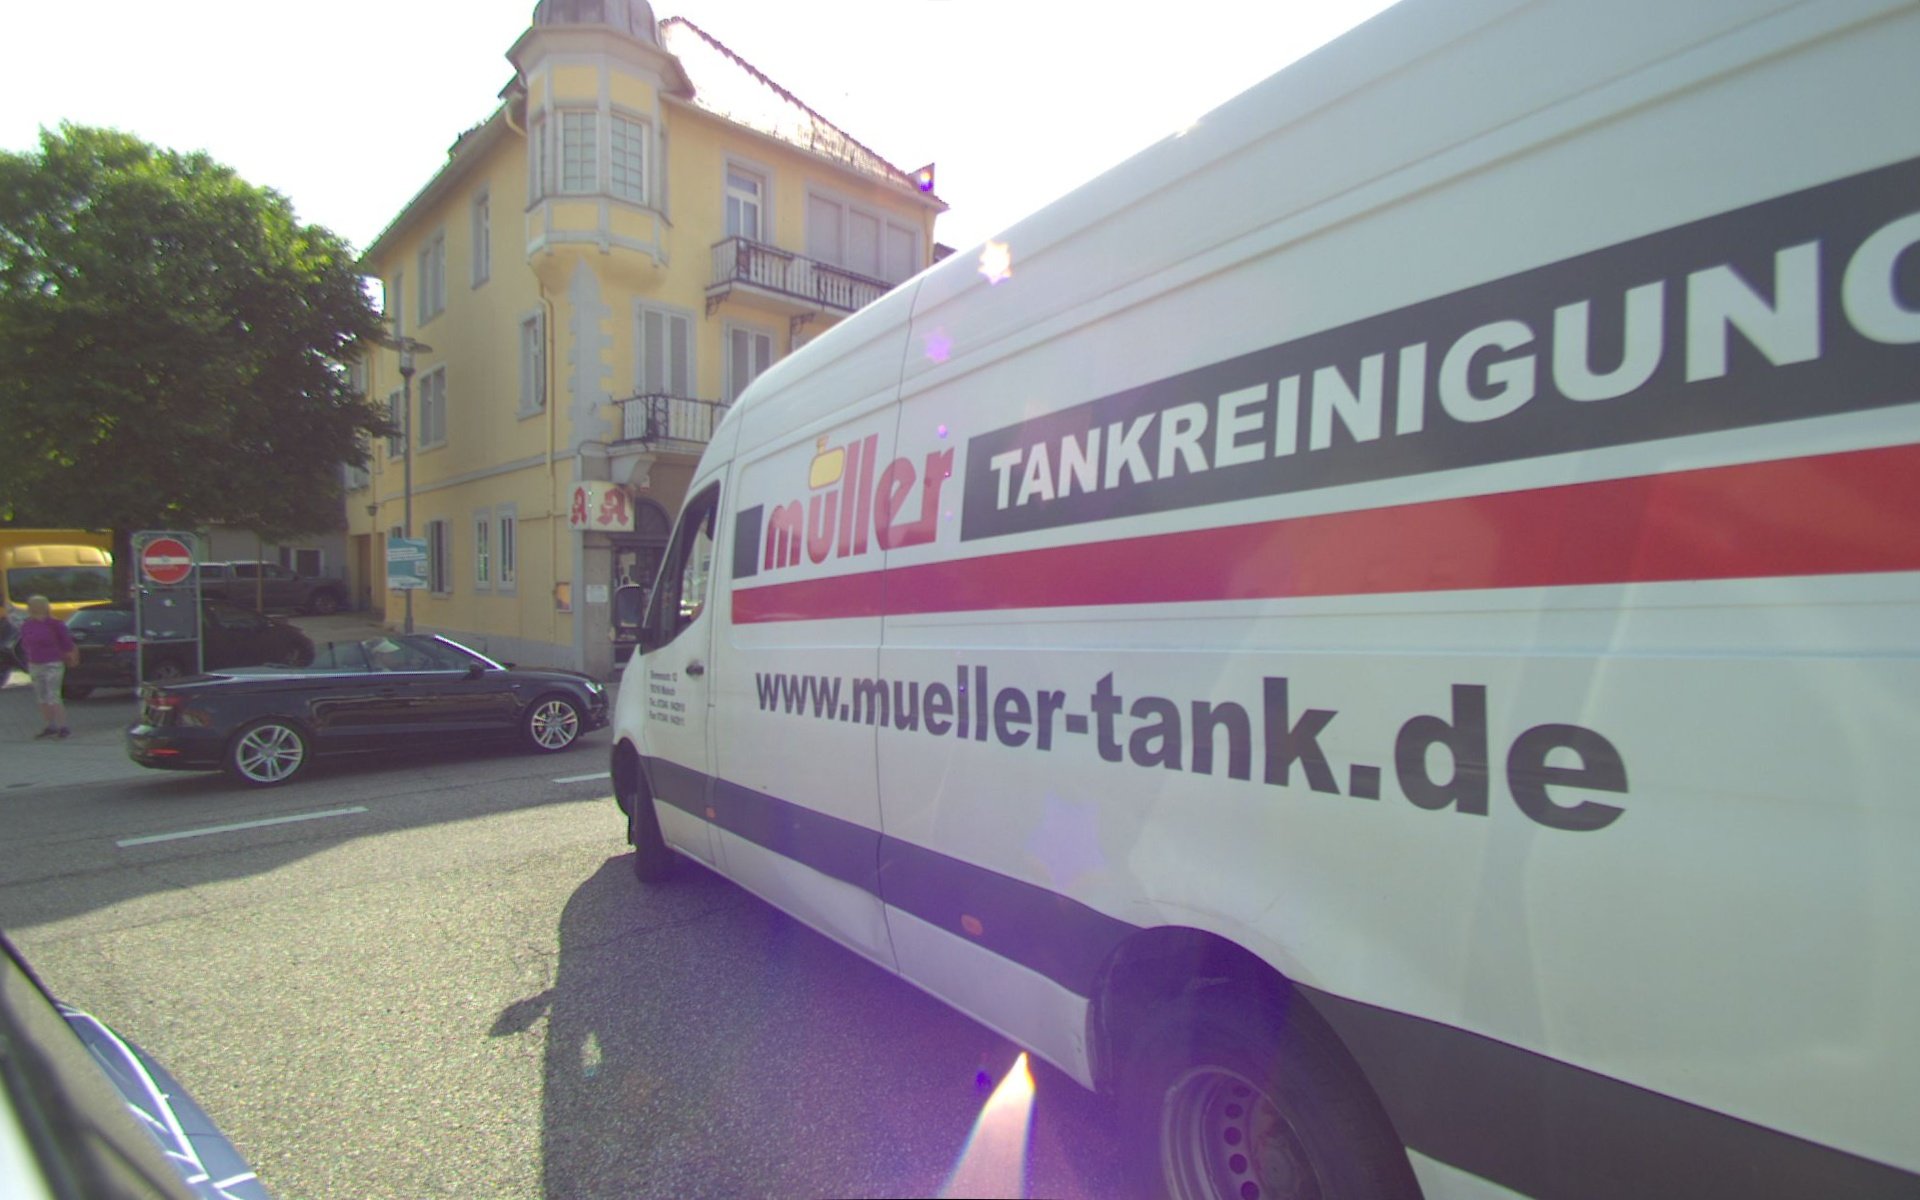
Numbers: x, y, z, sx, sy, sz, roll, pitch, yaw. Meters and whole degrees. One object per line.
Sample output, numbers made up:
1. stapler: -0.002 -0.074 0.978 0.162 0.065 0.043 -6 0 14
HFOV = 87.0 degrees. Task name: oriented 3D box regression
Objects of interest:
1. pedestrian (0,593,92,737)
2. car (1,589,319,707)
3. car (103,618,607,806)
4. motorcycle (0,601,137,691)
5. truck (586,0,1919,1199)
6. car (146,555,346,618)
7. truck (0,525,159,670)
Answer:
1. pedestrian: -11.383 0.787 12.571 0.669 1.727 0.619 -1 1 -11
2. car: -12.791 0.673 16.568 1.899 1.554 3.954 0 3 4
3. car: -5.990 0.954 10.329 4.136 1.366 1.758 -2 1 -42
4. motorcycle: -15.524 0.765 17.330 0.888 1.371 2.059 0 3 42
5. truck: 0.413 0.072 3.939 2.076 2.719 7.153 -1 -1 -32
6. car: -23.206 -0.443 33.066 1.998 1.905 5.006 0 0 39
7. truck: -20.989 -0.190 23.131 8.864 2.778 2.968 2 3 44
